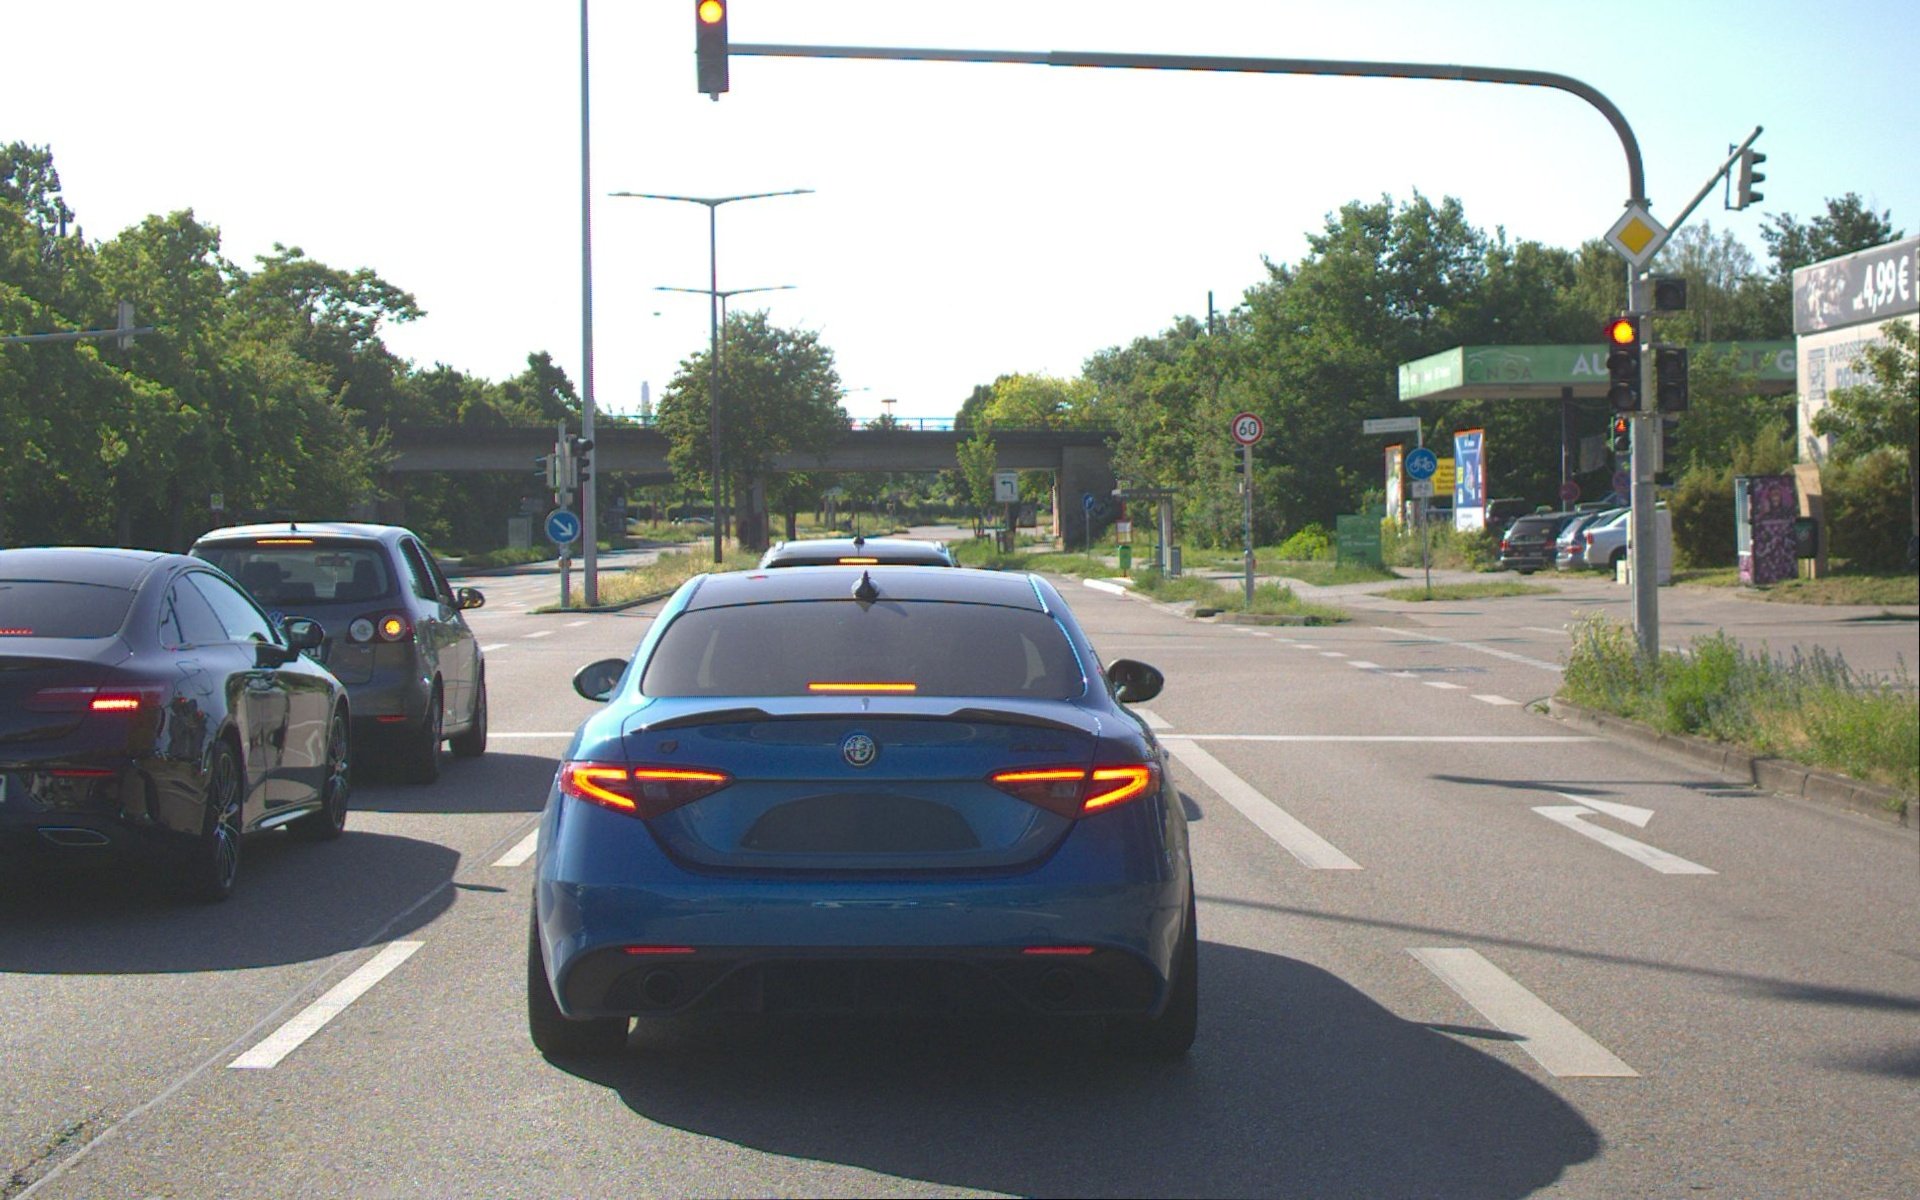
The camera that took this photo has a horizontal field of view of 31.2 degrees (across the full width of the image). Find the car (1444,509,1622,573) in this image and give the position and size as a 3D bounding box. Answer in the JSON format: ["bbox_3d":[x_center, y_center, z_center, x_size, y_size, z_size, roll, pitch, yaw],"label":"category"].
[{"bbox_3d":[14.603,-1.489,87.635,3.986,1.547,2.001,1,0,-17],"label":"car"}]

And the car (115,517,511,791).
[{"bbox_3d":[-3.980,0.288,21.830,1.812,1.546,4.354,1,1,-2],"label":"car"}]

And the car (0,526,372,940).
[{"bbox_3d":[-3.840,0.451,15.122,1.812,1.546,4.544,0,1,-1],"label":"car"}]

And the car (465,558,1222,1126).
[{"bbox_3d":[-0.260,0.598,10.605,1.910,1.418,3.719,1,1,1],"label":"car"}]

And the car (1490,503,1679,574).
[{"bbox_3d":[14.335,-1.408,79.067,3.987,1.547,2.000,1,0,1],"label":"car"}]

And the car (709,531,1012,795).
[{"bbox_3d":[-0.547,0.346,21.617,1.704,1.492,3.719,1,1,1],"label":"car"}]
